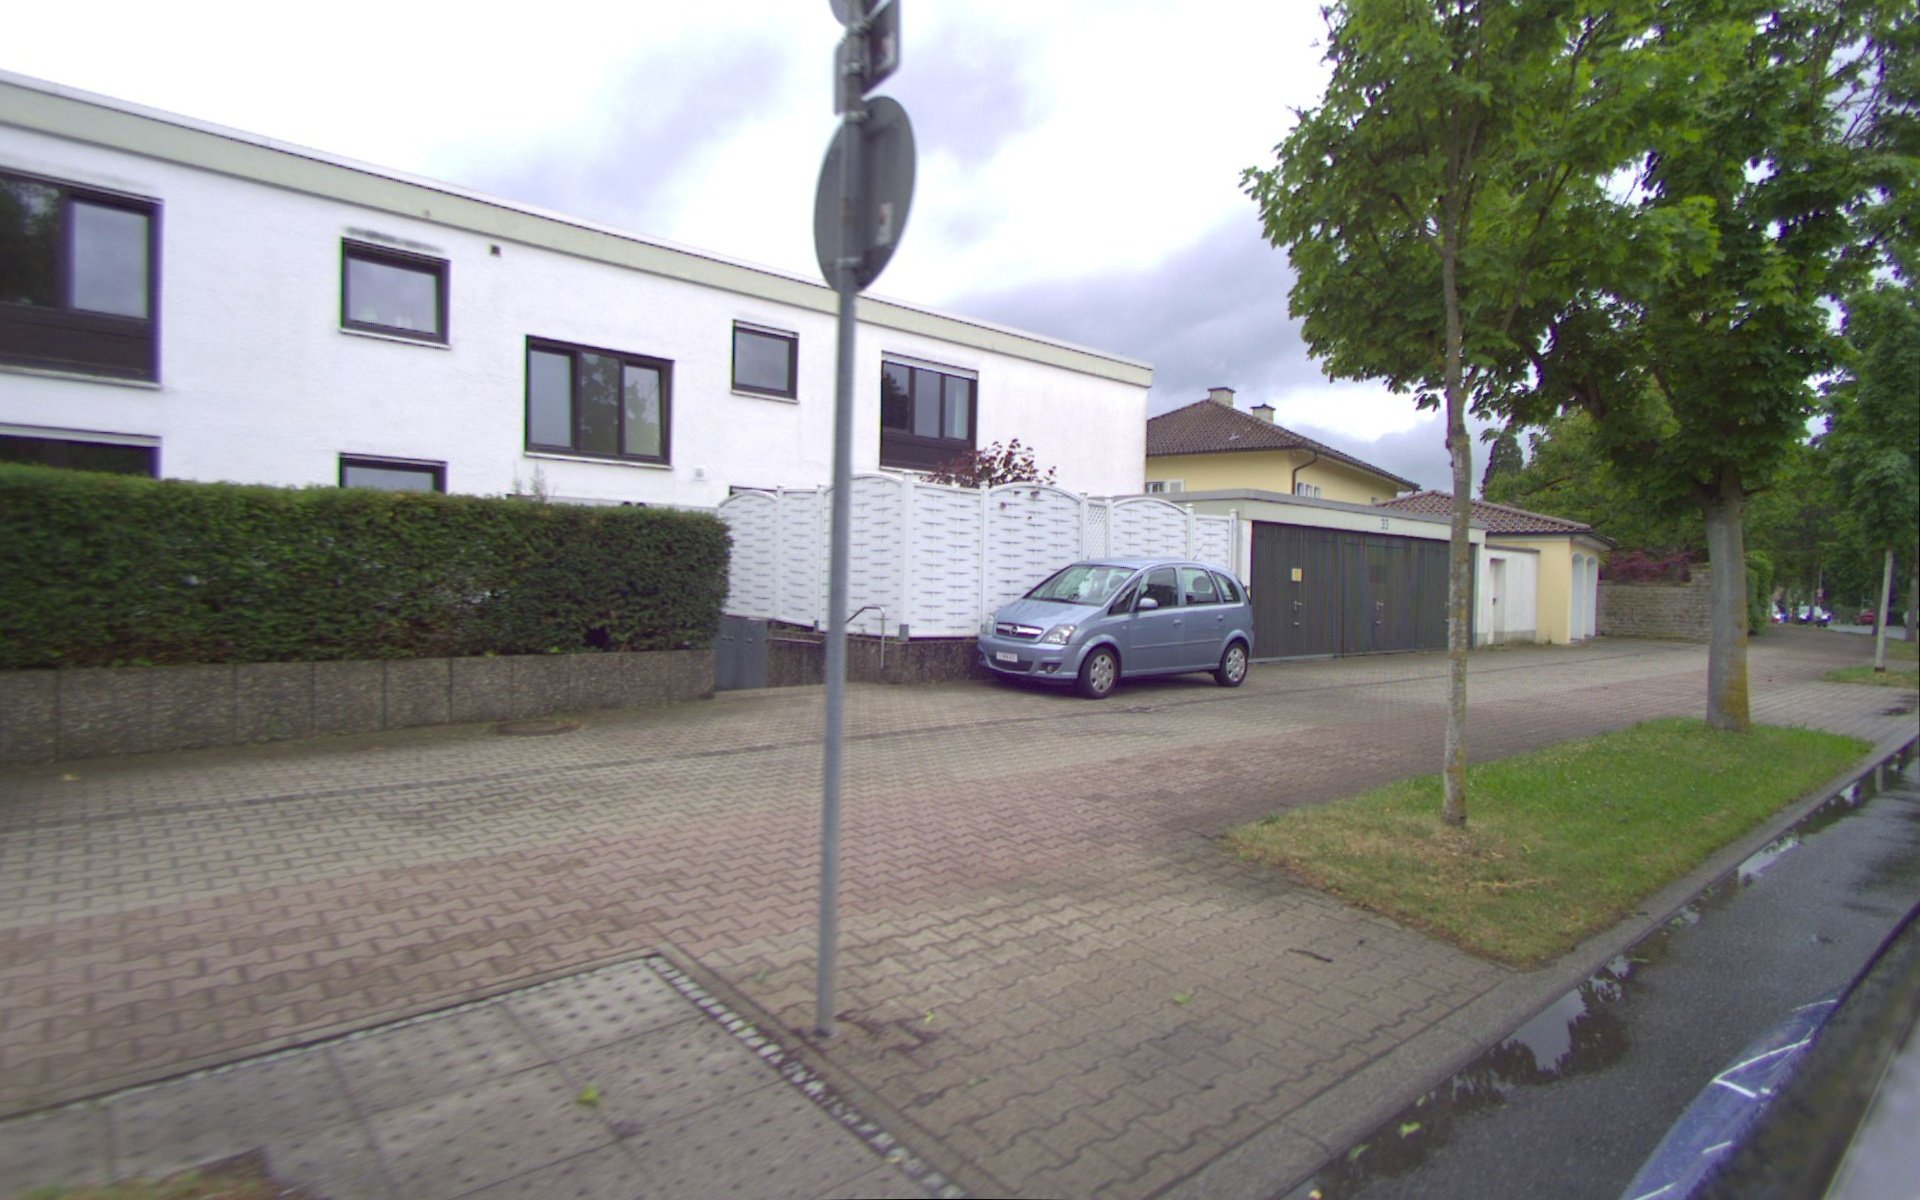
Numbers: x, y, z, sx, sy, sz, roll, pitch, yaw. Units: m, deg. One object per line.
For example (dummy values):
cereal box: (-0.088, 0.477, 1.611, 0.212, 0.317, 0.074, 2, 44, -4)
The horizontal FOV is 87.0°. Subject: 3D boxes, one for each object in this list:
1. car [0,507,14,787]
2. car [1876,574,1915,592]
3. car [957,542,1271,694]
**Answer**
car: (-6.827, 0.269, 3.949, 4.463, 1.516, 1.775, 0, 2, -40)
car: (83.072, -1.503, 89.900, 1.836, 1.484, 4.199, 1, 0, 33)
car: (2.031, 0.156, 12.765, 3.929, 1.630, 1.748, 0, 2, -40)
